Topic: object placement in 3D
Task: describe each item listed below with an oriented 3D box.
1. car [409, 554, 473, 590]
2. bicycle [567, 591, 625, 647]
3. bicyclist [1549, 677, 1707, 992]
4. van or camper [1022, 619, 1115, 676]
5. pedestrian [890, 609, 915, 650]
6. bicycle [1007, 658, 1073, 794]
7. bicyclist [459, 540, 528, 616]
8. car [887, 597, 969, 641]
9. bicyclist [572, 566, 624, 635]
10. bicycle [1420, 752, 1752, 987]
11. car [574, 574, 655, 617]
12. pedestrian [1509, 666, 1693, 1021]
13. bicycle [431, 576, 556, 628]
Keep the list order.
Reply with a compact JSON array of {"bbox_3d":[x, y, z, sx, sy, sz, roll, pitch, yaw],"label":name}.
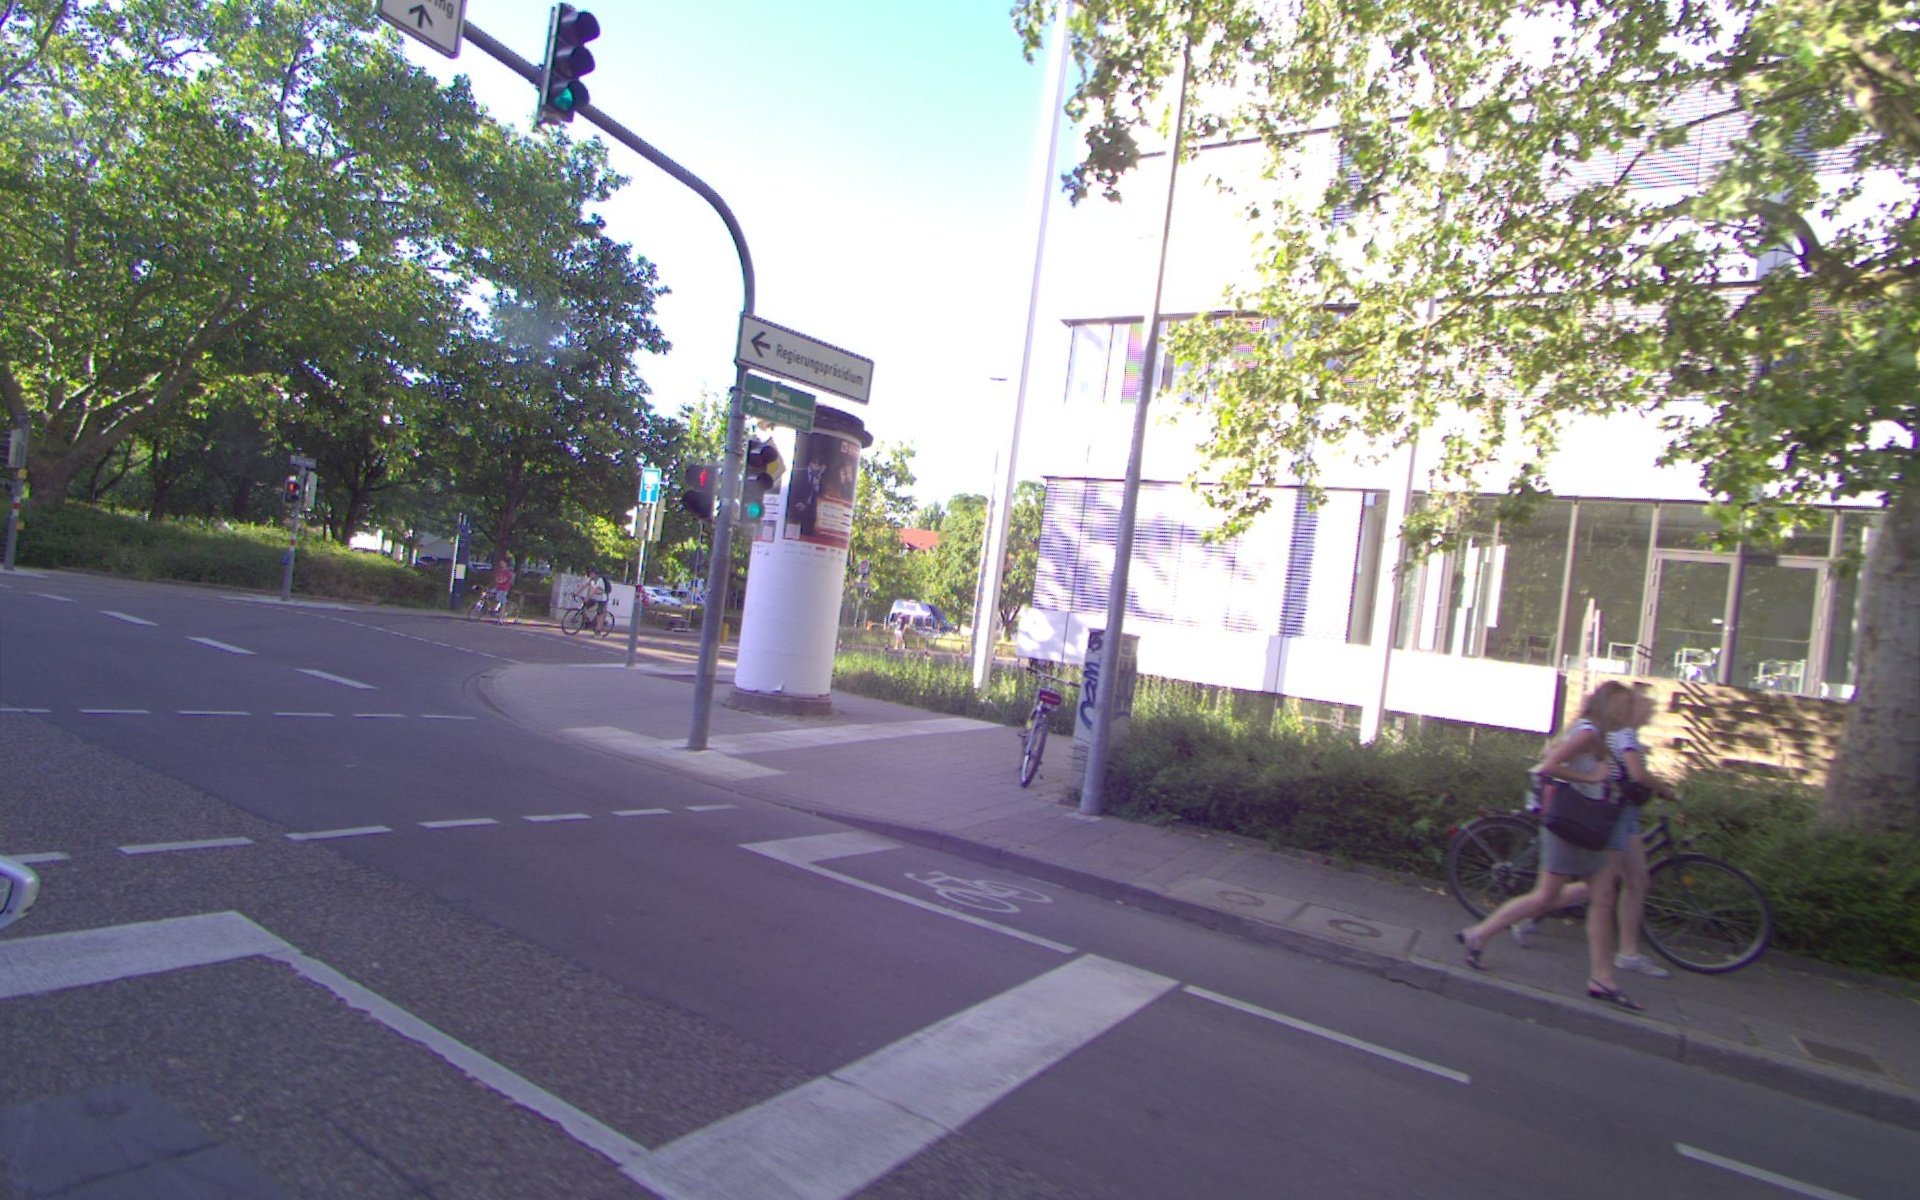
[{"bbox_3d":[-32.846,-1.752,63.611,3.941,1.800,1.993,6,-2,38],"label":"car"},{"bbox_3d":[-9.303,0.458,25.656,0.971,1.065,2.640,6,2,-28],"label":"bicycle"},{"bbox_3d":[4.068,1.372,6.177,0.644,1.734,0.633,5,0,30],"label":"bicyclist"},{"bbox_3d":[4.857,2.149,44.281,2.125,2.037,4.972,7,-1,28],"label":"van or camper"},{"bbox_3d":[-2.783,1.412,48.504,0.655,1.877,1.026,7,-1,19],"label":"pedestrian"},{"bbox_3d":[0.811,1.263,10.631,0.462,1.196,1.994,6,-1,2],"label":"bicycle"},{"bbox_3d":[-12.425,-0.577,26.806,0.961,1.829,1.131,6,-1,29],"label":"bicyclist"},{"bbox_3d":[-1.994,1.174,62.509,4.484,2.138,2.000,6,-1,25],"label":"car"},{"bbox_3d":[-9.233,0.000,25.620,0.942,1.565,1.118,7,1,-27],"label":"bicyclist"},{"bbox_3d":[3.871,1.627,6.351,1.619,1.047,0.522,6,-1,30],"label":"bicycle"},{"bbox_3d":[-19.020,-0.250,55.418,3.933,1.800,1.997,6,-2,31],"label":"car"},{"bbox_3d":[3.542,1.276,5.626,0.680,1.740,0.774,5,0,30],"label":"pedestrian"},{"bbox_3d":[-12.439,0.073,26.958,0.926,1.050,3.004,6,-2,28],"label":"bicycle"}]
